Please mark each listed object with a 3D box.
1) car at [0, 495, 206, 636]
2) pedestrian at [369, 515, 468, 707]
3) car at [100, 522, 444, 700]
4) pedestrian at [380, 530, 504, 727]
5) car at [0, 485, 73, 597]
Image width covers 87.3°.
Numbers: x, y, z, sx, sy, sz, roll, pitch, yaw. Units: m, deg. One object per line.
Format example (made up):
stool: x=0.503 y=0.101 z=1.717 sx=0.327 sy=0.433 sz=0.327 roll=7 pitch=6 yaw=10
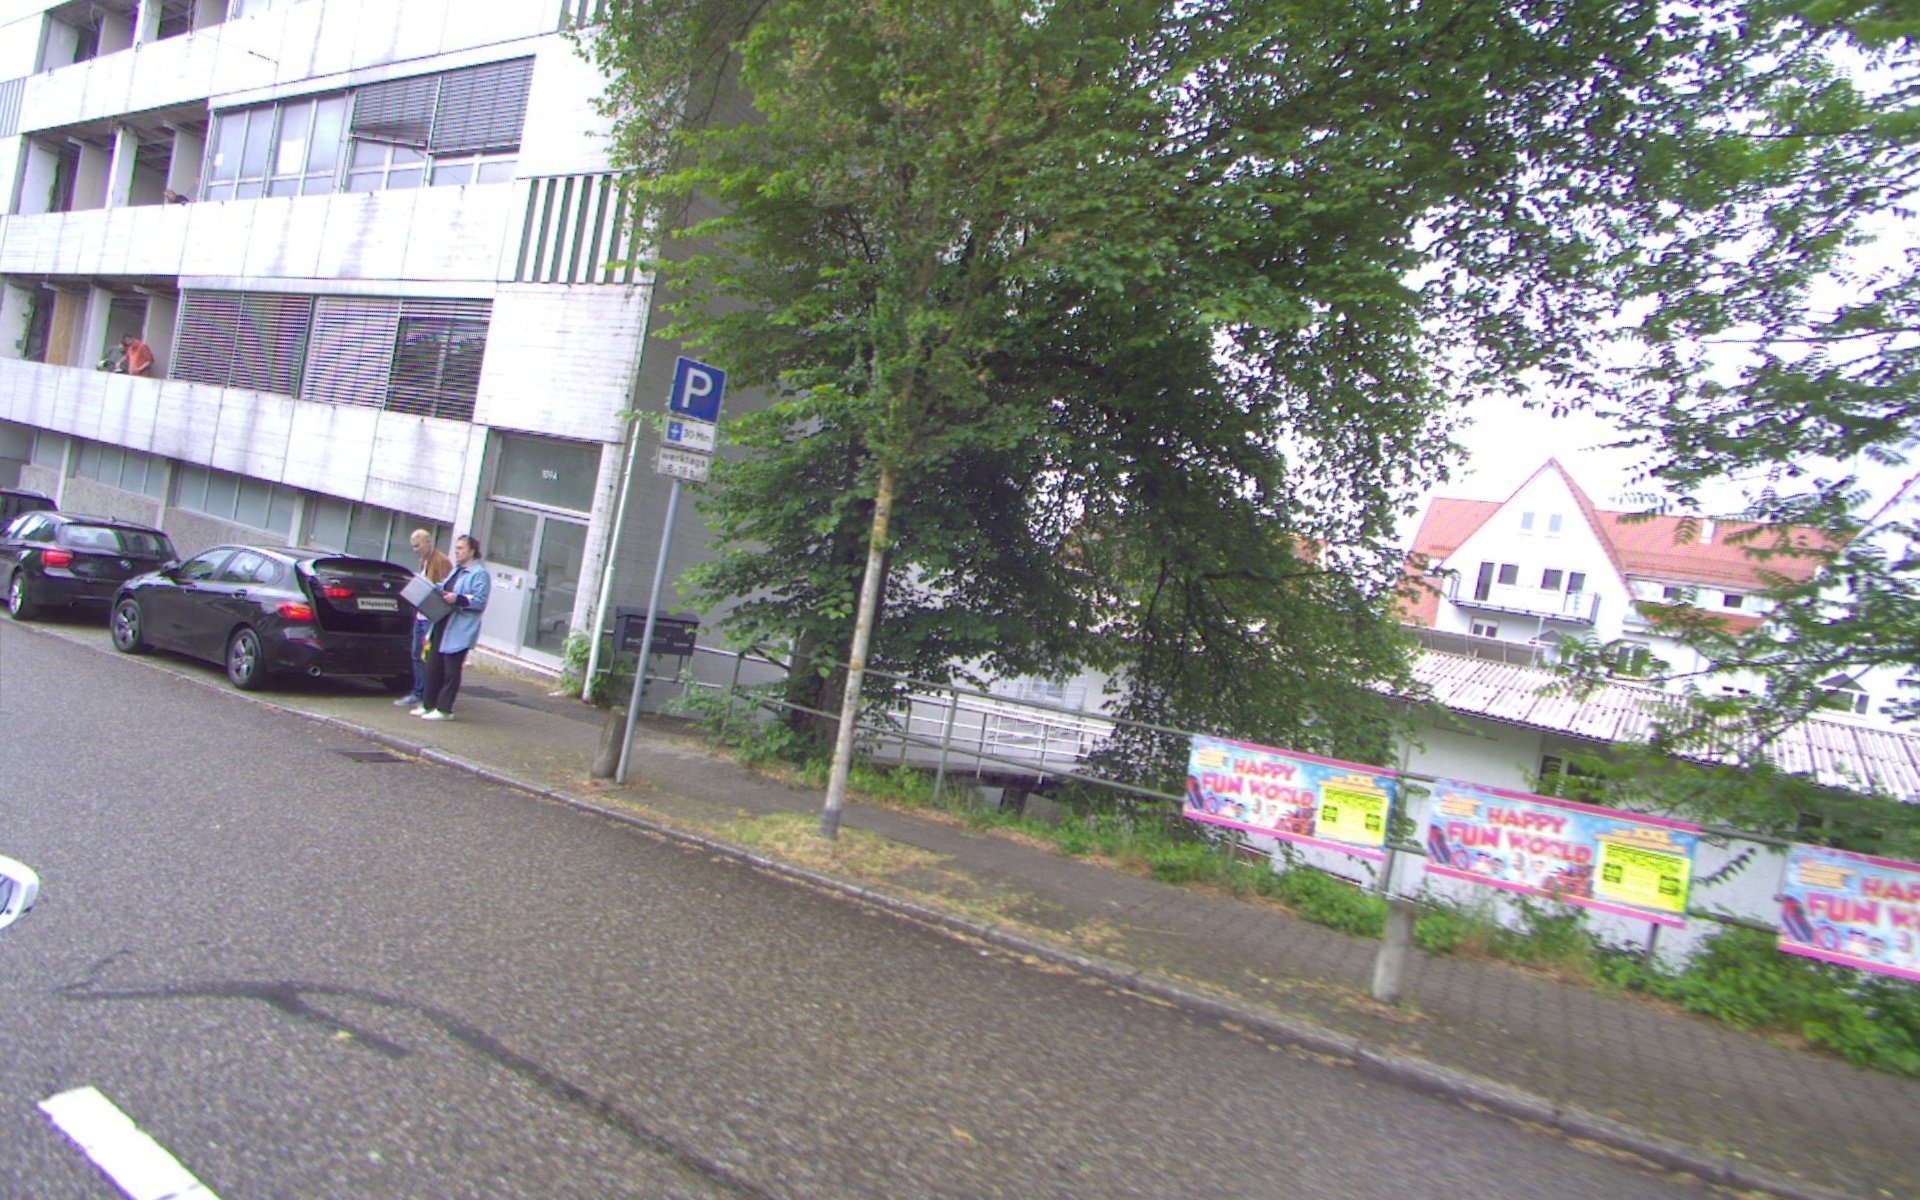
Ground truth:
car: x=-12.538 y=-0.553 z=14.151 sx=3.934 sy=1.482 sz=1.684 roll=8 pitch=0 yaw=32
pedestrian: x=-5.551 y=0.106 z=10.303 sx=0.659 sy=1.860 sz=0.682 roll=6 pitch=3 yaw=-35
car: x=-7.749 y=0.094 z=11.247 sx=3.932 sy=1.452 sz=1.506 roll=7 pitch=0 yaw=30
pedestrian: x=-4.942 y=0.273 z=9.592 sx=0.732 sy=1.746 sz=0.756 roll=5 pitch=3 yaw=-43
car: x=-16.467 y=-1.151 z=16.532 sx=3.934 sy=1.590 sz=1.688 roll=8 pitch=0 yaw=32
